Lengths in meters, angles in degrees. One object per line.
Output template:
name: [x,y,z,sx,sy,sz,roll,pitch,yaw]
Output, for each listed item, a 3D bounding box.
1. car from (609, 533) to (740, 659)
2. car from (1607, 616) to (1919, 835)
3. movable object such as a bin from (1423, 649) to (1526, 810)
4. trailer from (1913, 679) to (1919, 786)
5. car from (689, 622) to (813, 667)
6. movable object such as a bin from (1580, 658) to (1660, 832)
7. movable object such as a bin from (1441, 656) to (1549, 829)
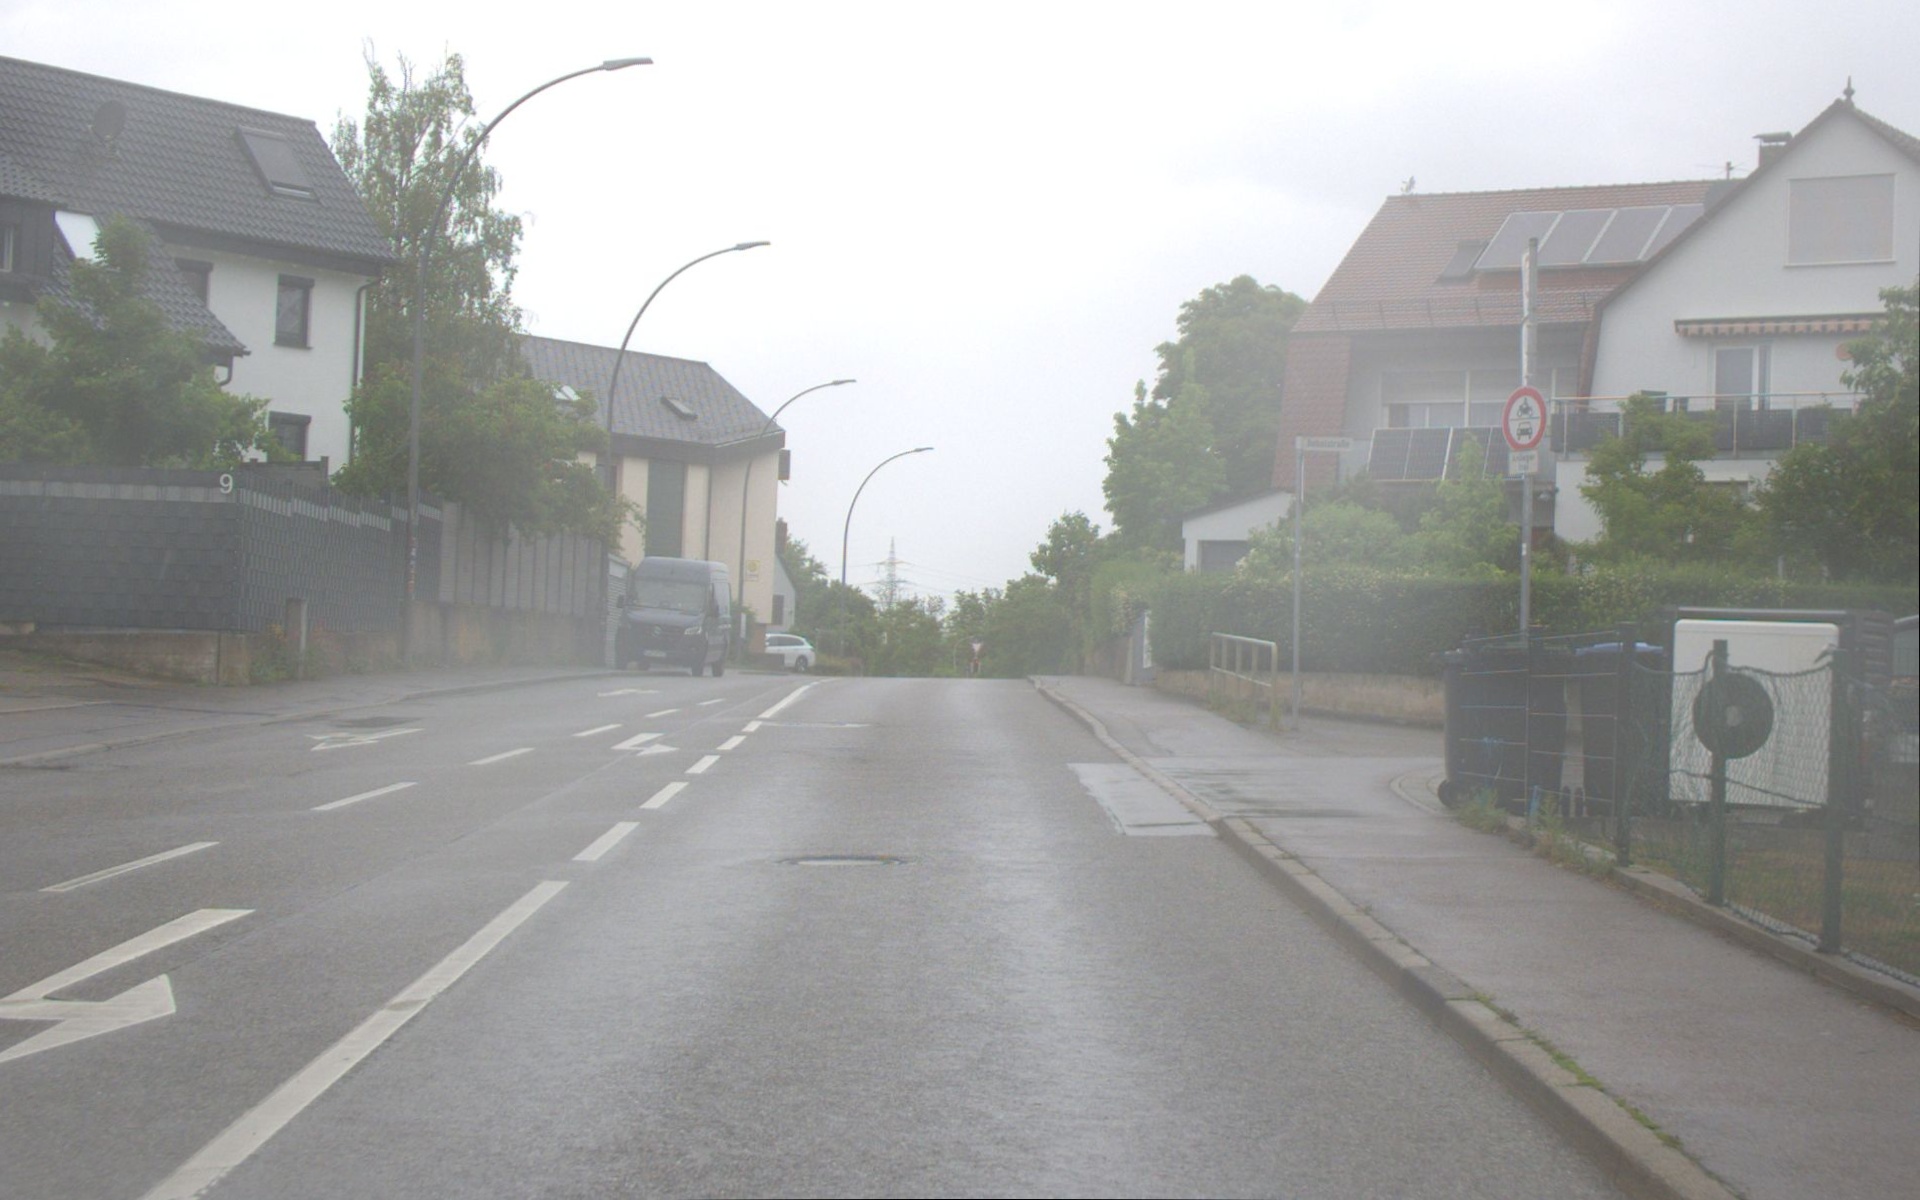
car: [-6.454,-0.045,78.396,2.094,2.640,5.917,3,-1,3]
car: [6.863,0.840,23.581,4.561,1.379,1.998,0,1,18]
movable object such as a bin: [3.359,0.839,22.468,0.627,1.018,0.540,0,0,5]
trailer: [9.167,0.649,25.707,3.459,1.792,1.684,4,0,37]
car: [-7.913,1.704,130.469,1.905,1.472,4.871,3,-1,37]
movable object such as a bin: [3.977,0.868,20.696,0.443,1.018,0.524,0,0,13]
movable object such as a bin: [3.275,0.860,21.032,0.530,1.018,0.732,0,0,19]
